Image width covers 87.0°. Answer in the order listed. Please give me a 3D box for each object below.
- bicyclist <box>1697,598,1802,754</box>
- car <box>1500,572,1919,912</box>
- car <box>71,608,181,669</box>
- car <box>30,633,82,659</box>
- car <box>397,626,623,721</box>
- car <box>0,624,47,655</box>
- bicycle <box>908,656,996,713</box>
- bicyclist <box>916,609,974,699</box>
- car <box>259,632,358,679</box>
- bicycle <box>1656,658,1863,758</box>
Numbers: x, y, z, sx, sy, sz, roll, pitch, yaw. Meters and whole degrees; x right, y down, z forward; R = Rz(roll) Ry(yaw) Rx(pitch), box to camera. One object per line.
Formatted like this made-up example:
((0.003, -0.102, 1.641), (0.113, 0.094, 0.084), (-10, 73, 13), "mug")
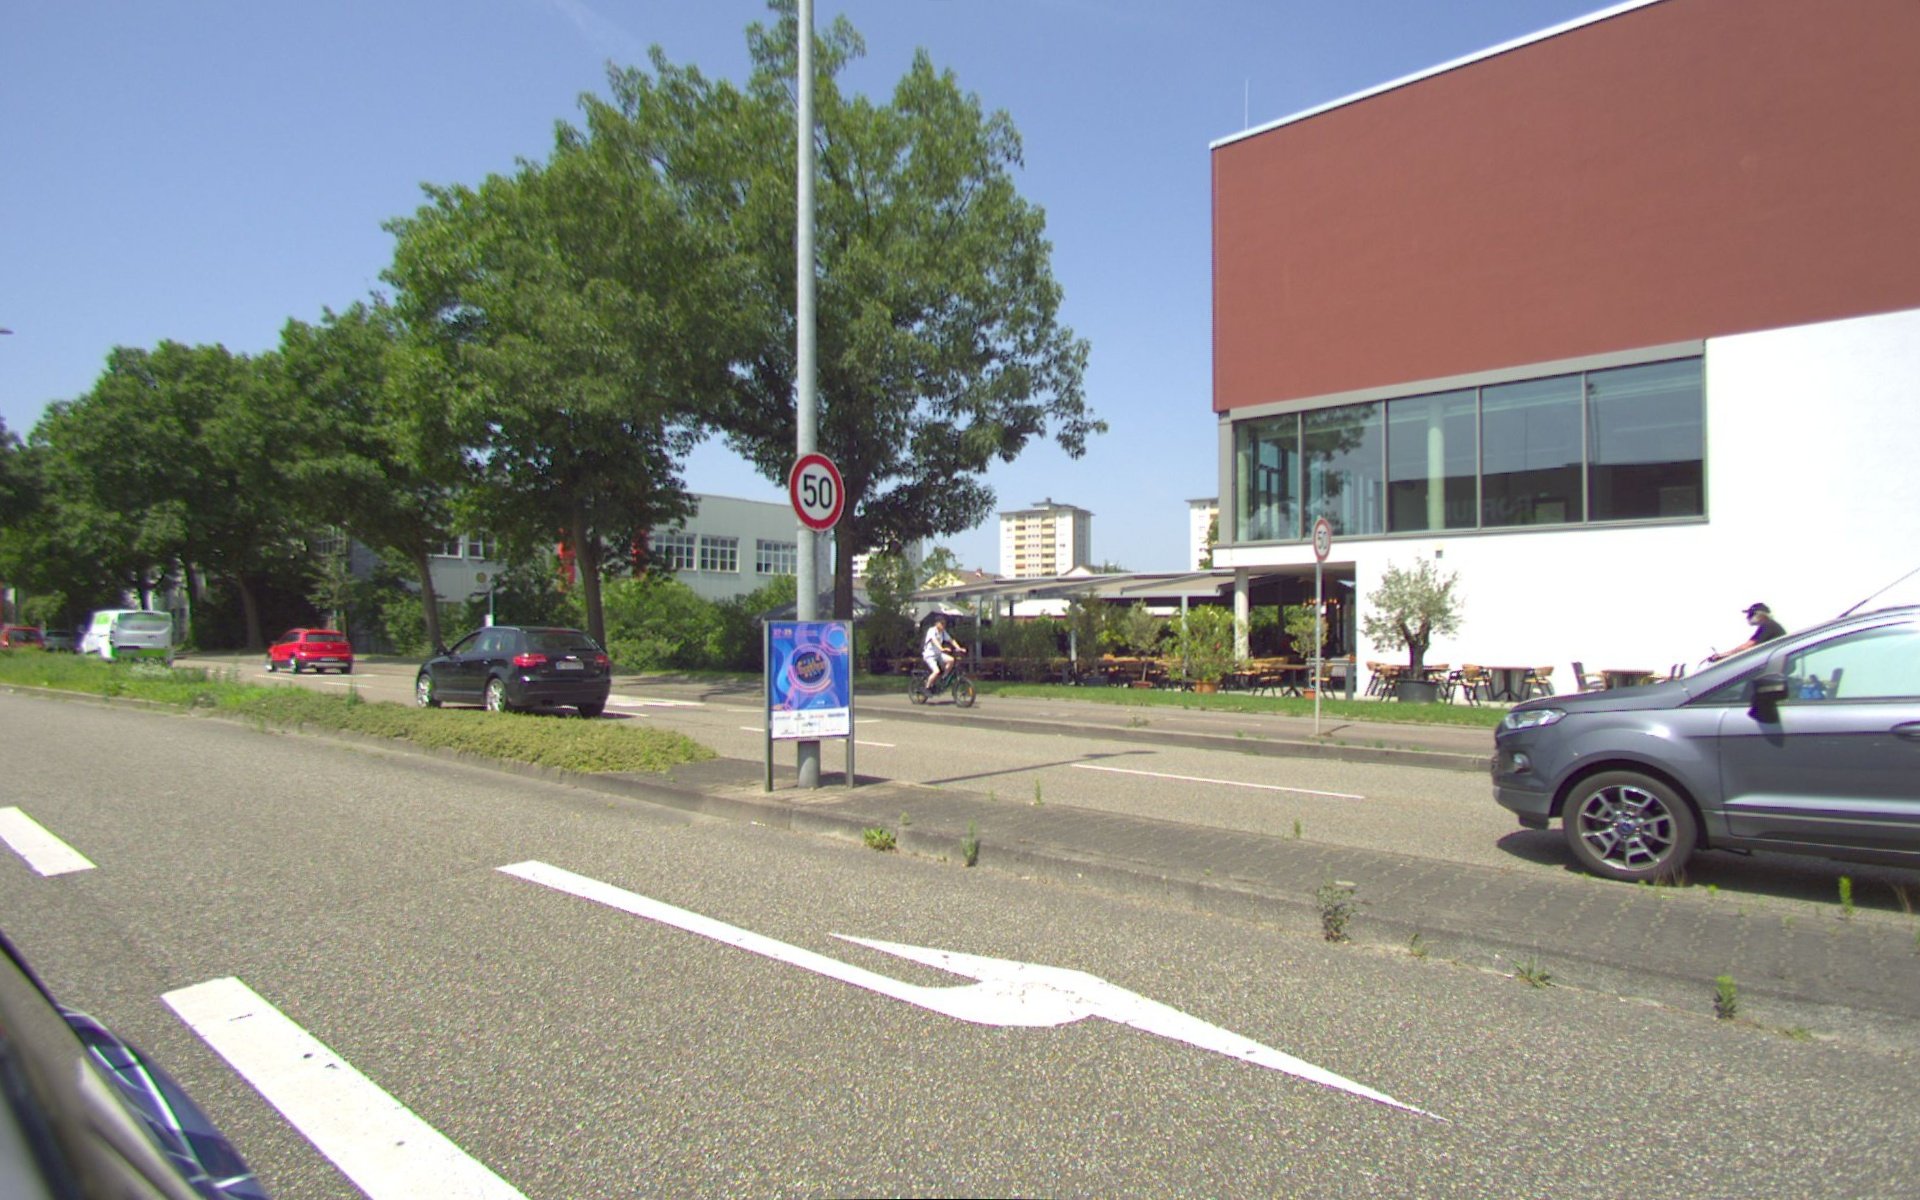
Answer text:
((9.462, 0.880, 12.132), (0.927, 1.783, 0.643), (-2, -2, 41), "bicyclist")
((5.208, 0.726, 5.382), (3.881, 1.612, 1.670), (-1, -5, 40), "car")
((-29.008, 1.355, 35.141), (4.904, 1.960, 1.973), (-1, -4, 40), "car")
((-55.533, 2.819, 62.149), (4.130, 1.462, 1.731), (-2, -5, 41), "car")
((-7.341, 1.144, 16.365), (3.996, 1.349, 1.662), (-1, -5, 39), "car")
((-46.723, 1.962, 50.153), (3.605, 1.452, 1.564), (-1, -4, 39), "car")
((-0.166, 1.549, 18.756), (1.659, 0.976, 0.611), (-1, -3, 41), "bicycle")
((-0.287, 0.997, 18.888), (0.923, 1.643, 0.601), (-1, -3, 41), "bicyclist")
((-21.712, 1.825, 33.666), (3.889, 1.464, 1.688), (-2, -5, 41), "car")
((9.505, 1.248, 12.090), (1.883, 1.059, 0.648), (-2, -2, 41), "bicycle")
